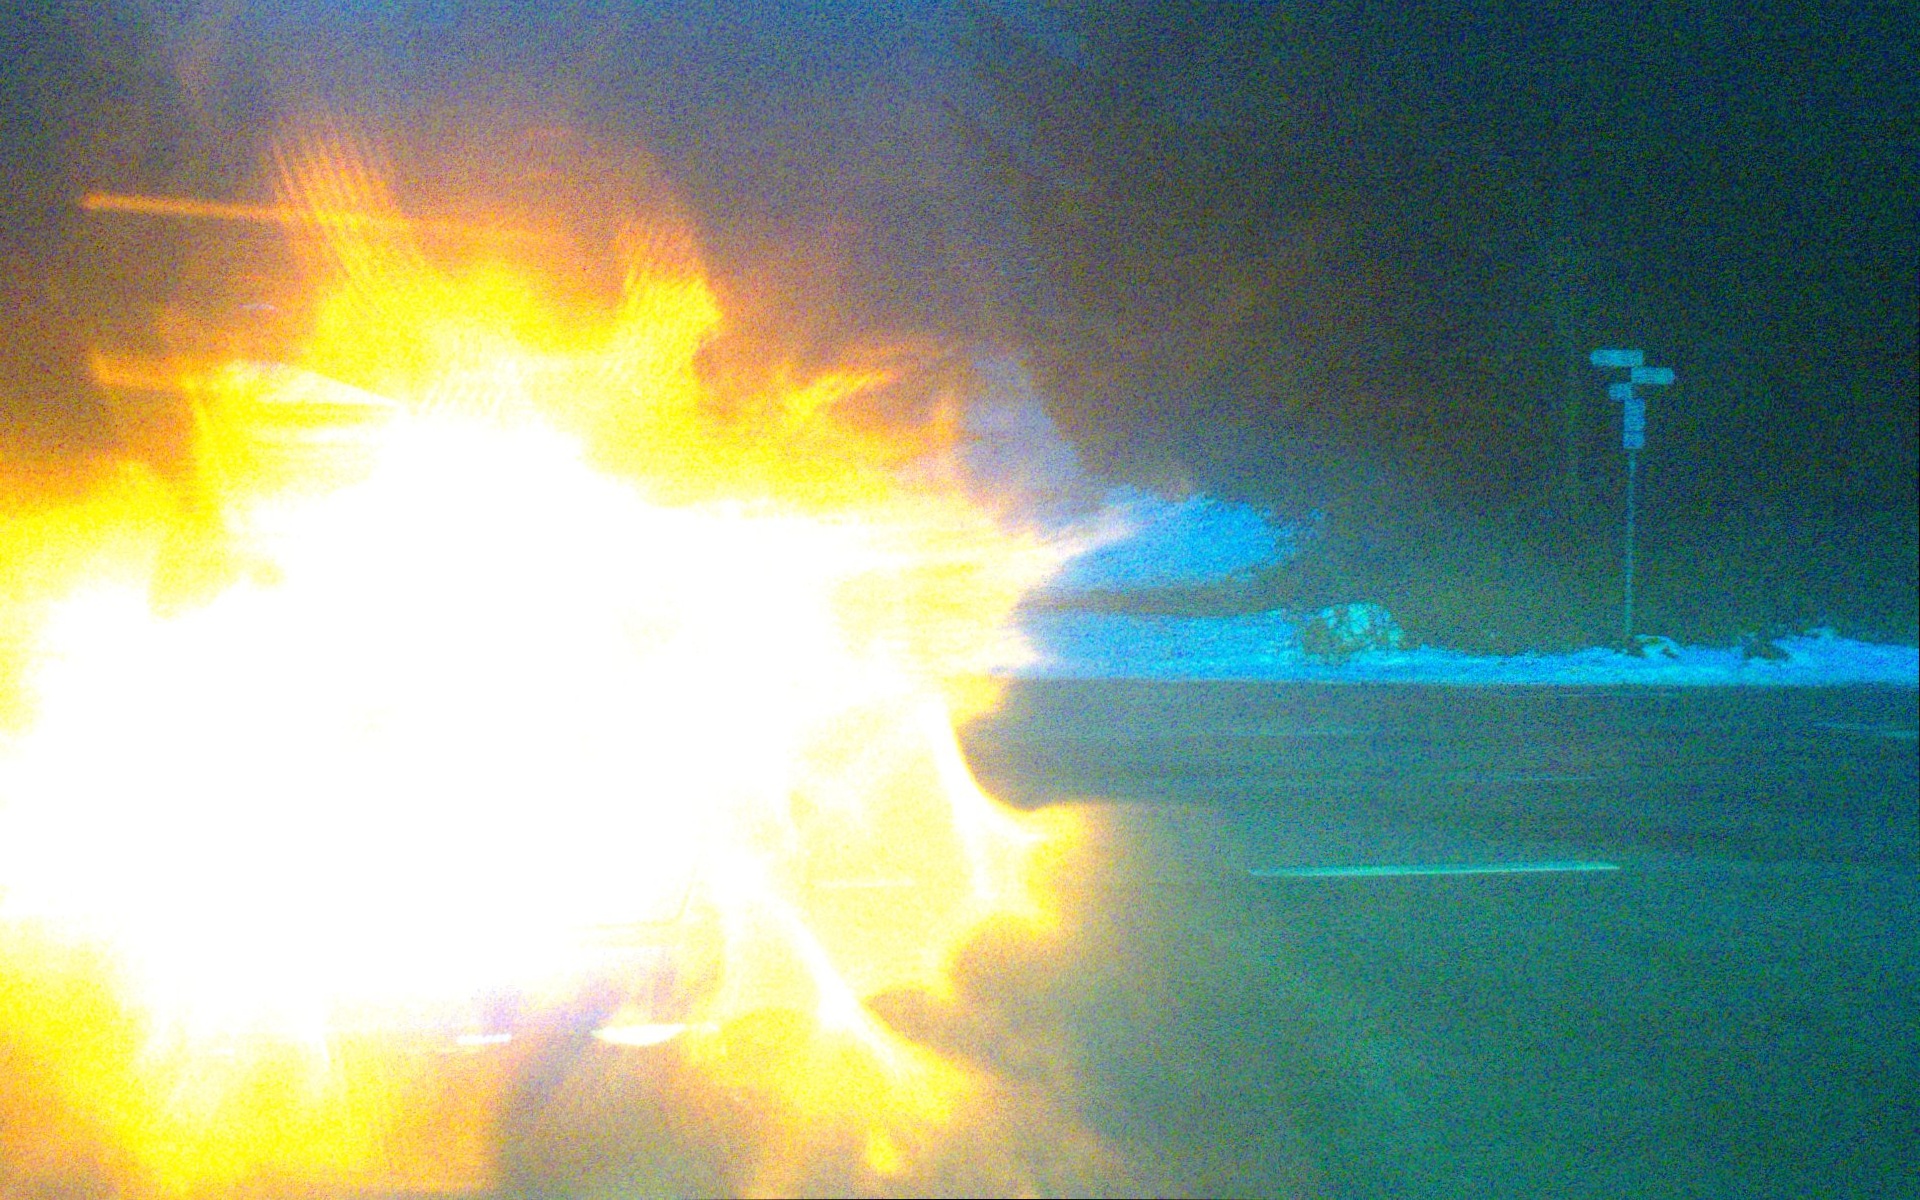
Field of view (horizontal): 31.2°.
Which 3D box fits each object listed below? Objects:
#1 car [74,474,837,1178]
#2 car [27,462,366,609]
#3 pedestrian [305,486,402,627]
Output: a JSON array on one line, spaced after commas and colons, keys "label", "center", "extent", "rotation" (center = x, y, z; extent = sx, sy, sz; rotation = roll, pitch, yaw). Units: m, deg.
[{"label": "car", "center": [-1.552, 0.447, 9.610], "extent": [1.692, 1.547, 3.857], "rotation": [0, 2, -13]}, {"label": "car", "center": [-10.130, -0.852, 45.785], "extent": [3.948, 1.875, 1.999], "rotation": [1, 0, 8]}, {"label": "pedestrian", "center": [-7.939, -0.573, 45.065], "extent": [0.961, 1.821, 0.924], "rotation": [1, 0, 12]}]
